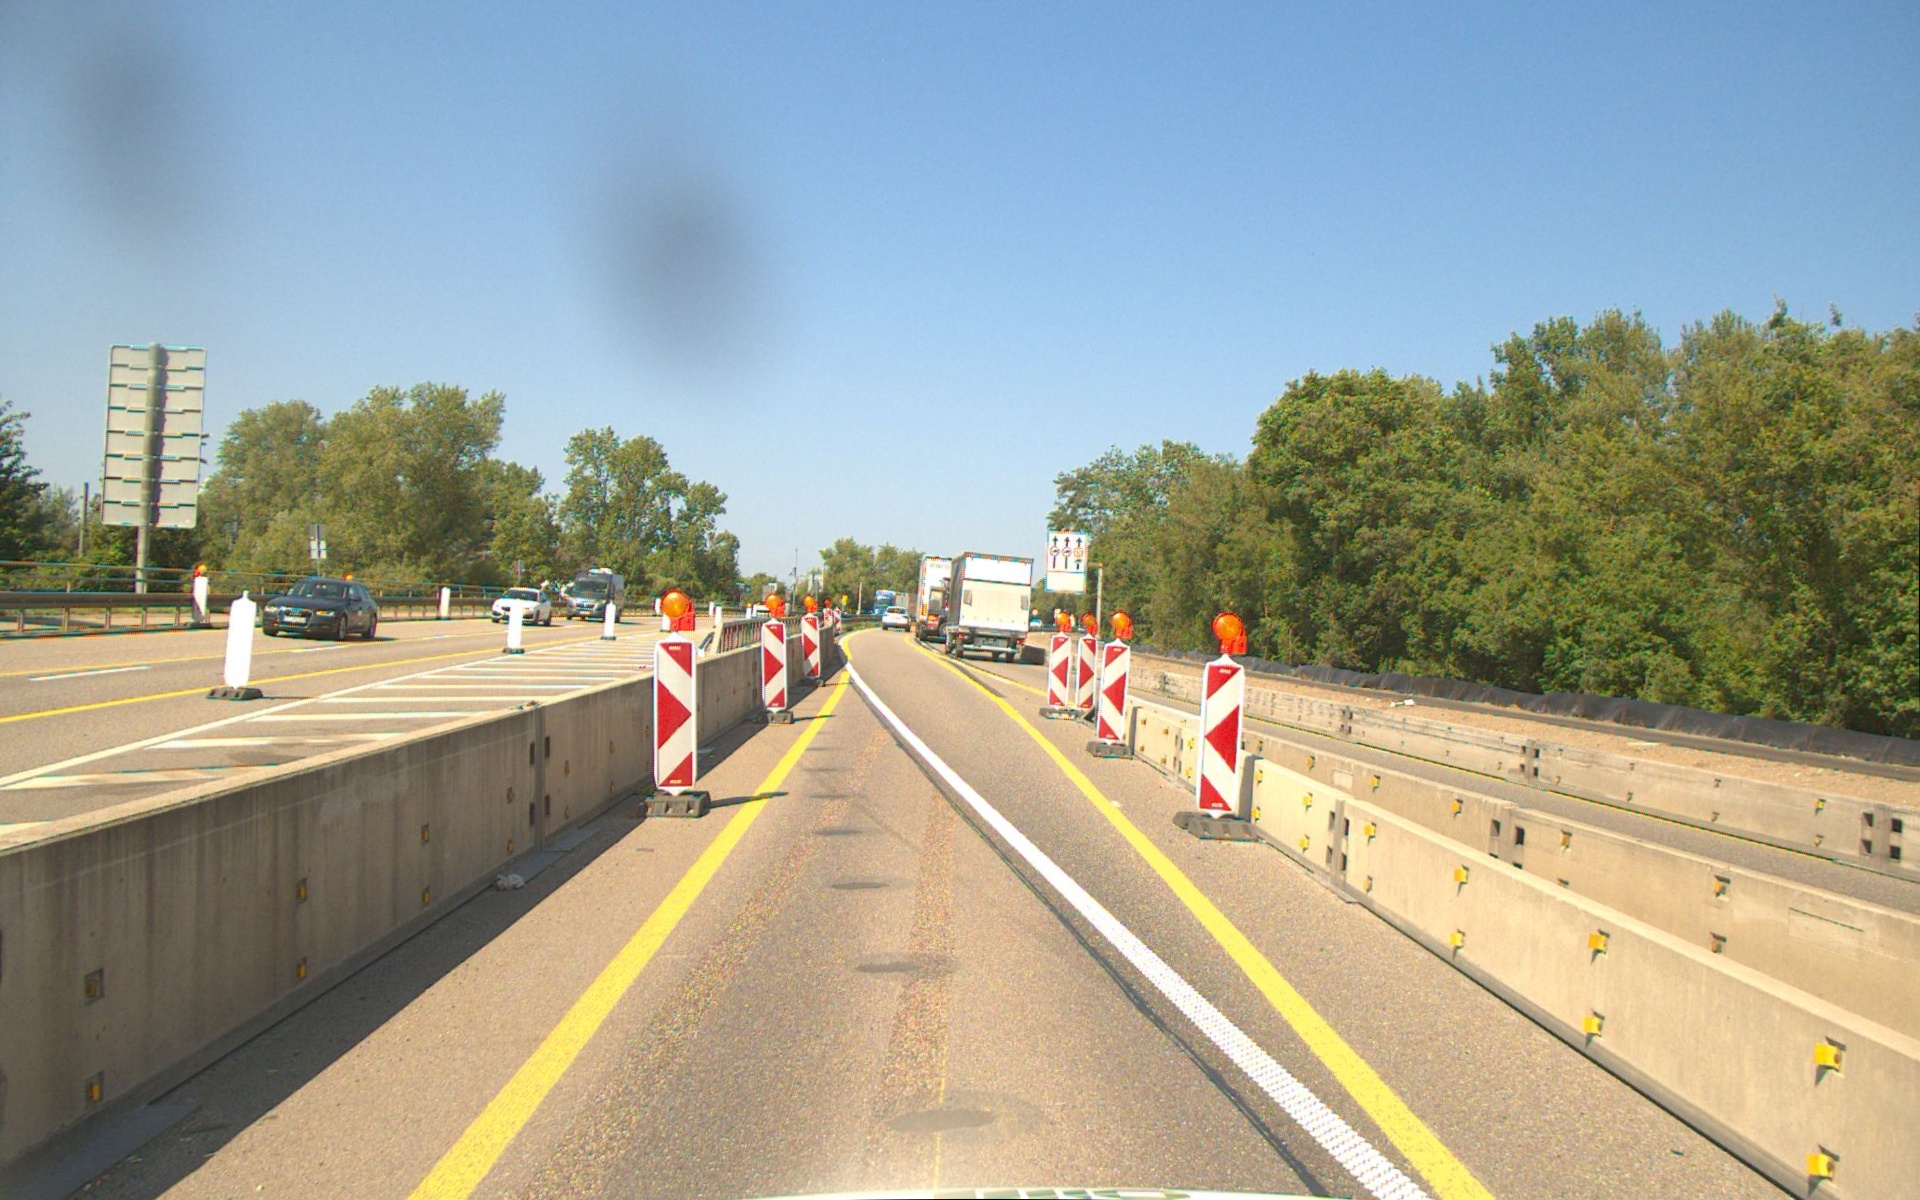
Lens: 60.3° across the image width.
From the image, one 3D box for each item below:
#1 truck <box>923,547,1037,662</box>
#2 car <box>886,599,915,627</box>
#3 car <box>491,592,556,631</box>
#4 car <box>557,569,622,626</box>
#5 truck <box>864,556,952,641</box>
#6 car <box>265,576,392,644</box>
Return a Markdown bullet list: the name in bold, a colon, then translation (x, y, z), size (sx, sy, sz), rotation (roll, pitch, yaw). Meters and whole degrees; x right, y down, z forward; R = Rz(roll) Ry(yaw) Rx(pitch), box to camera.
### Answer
- **truck**: translation (0.572, 0.133, 56.421), size (2.585, 3.487, 7.219), rotation (4, 0, -8)
- **car**: translation (-4.053, 0.886, 111.968), size (1.781, 1.807, 3.996), rotation (2, -1, -4)
- **car**: translation (-17.641, 0.464, 66.974), size (1.686, 1.421, 4.515), rotation (4, -1, -5)
- **car**: translation (-18.772, -0.096, 84.001), size (2.103, 2.707, 5.543), rotation (3, -1, -2)
- **truck**: translation (-2.626, -0.048, 80.780), size (3.325, 3.840, 7.218), rotation (2, -1, -9)
- **car**: translation (-15.430, 0.231, 40.673), size (1.704, 1.502, 4.639), rotation (3, 0, -6)
